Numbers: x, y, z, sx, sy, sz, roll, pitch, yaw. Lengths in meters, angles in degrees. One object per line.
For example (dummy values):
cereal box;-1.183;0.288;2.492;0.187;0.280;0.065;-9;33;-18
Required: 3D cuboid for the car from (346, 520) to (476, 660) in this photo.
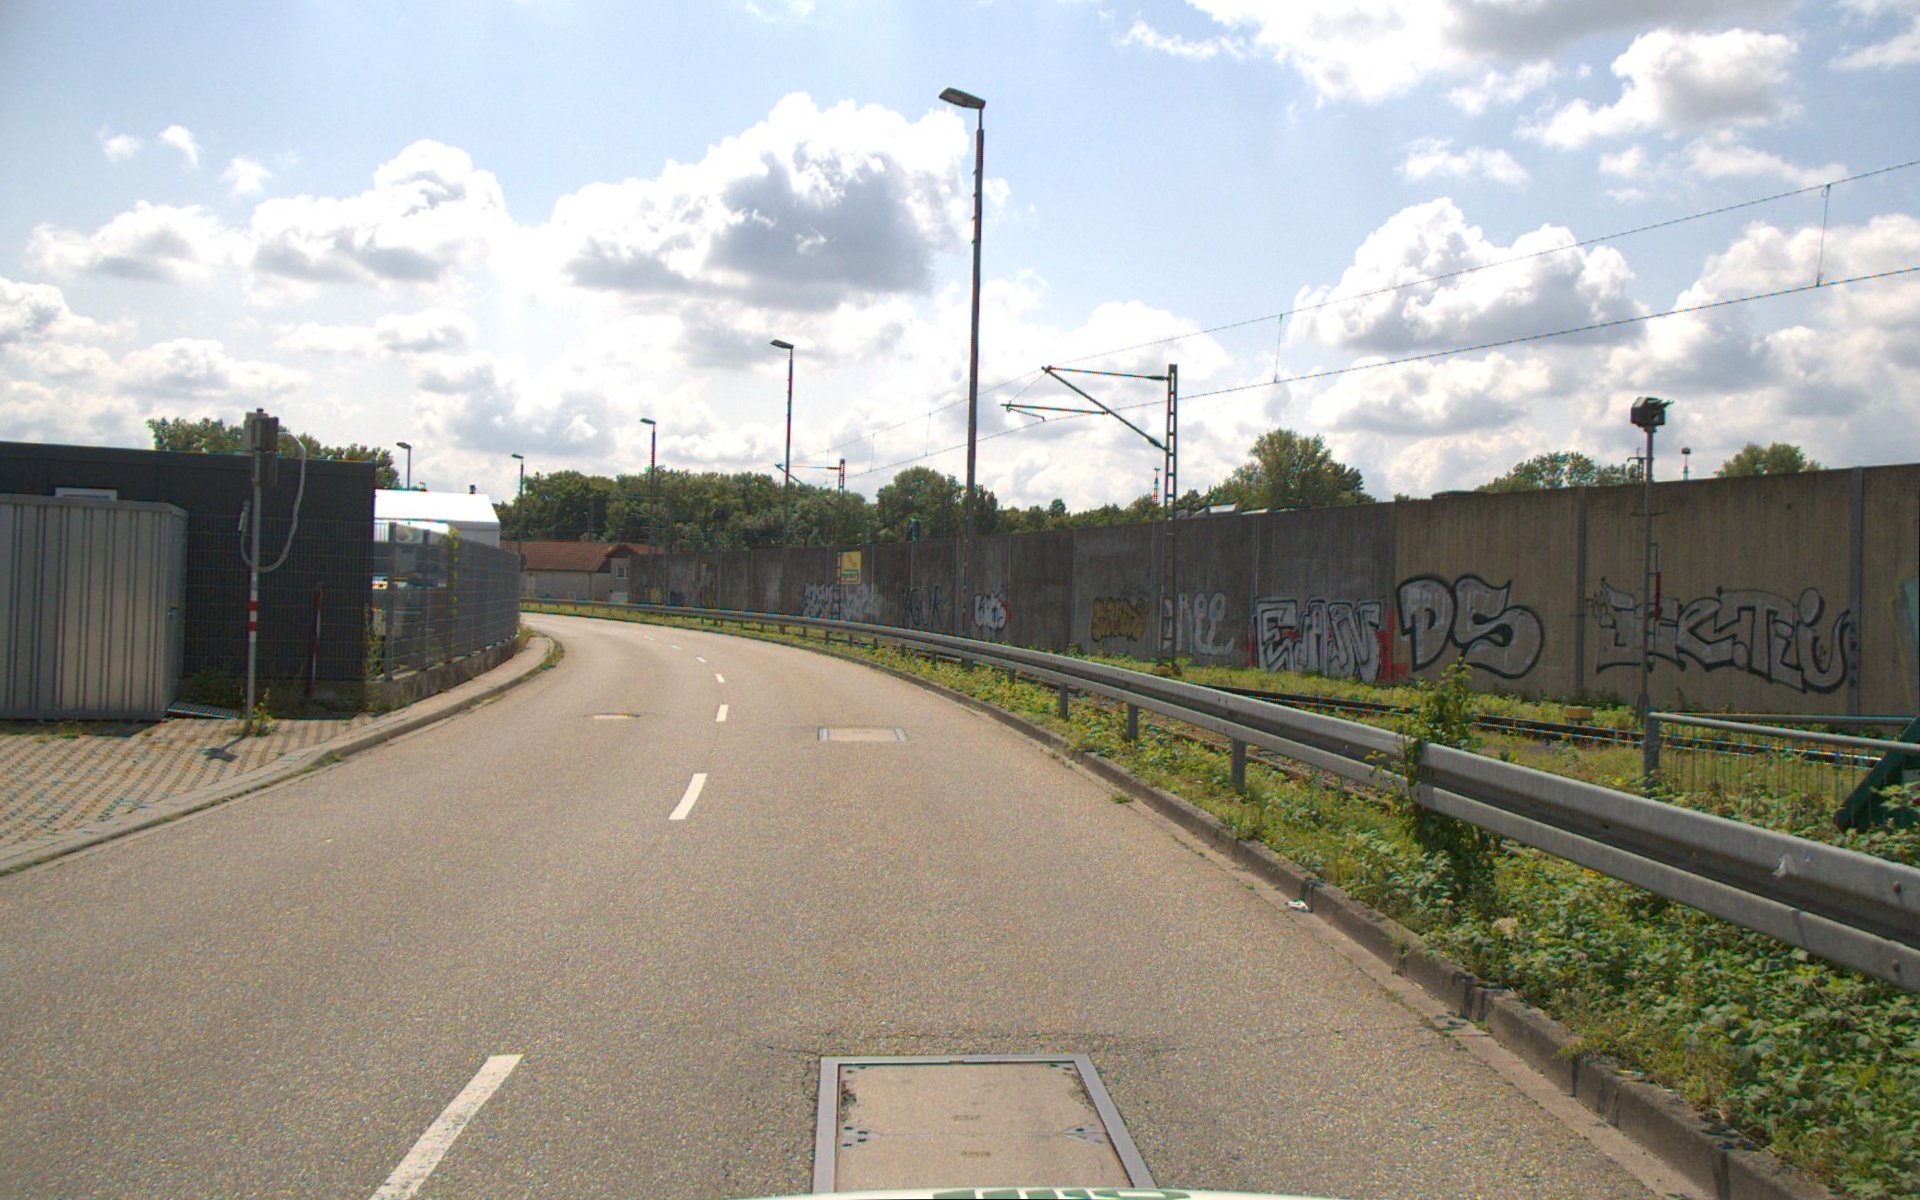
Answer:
car;-11.210;-0.196;34.197;2.084;2.581;6.690;1;0;-15
